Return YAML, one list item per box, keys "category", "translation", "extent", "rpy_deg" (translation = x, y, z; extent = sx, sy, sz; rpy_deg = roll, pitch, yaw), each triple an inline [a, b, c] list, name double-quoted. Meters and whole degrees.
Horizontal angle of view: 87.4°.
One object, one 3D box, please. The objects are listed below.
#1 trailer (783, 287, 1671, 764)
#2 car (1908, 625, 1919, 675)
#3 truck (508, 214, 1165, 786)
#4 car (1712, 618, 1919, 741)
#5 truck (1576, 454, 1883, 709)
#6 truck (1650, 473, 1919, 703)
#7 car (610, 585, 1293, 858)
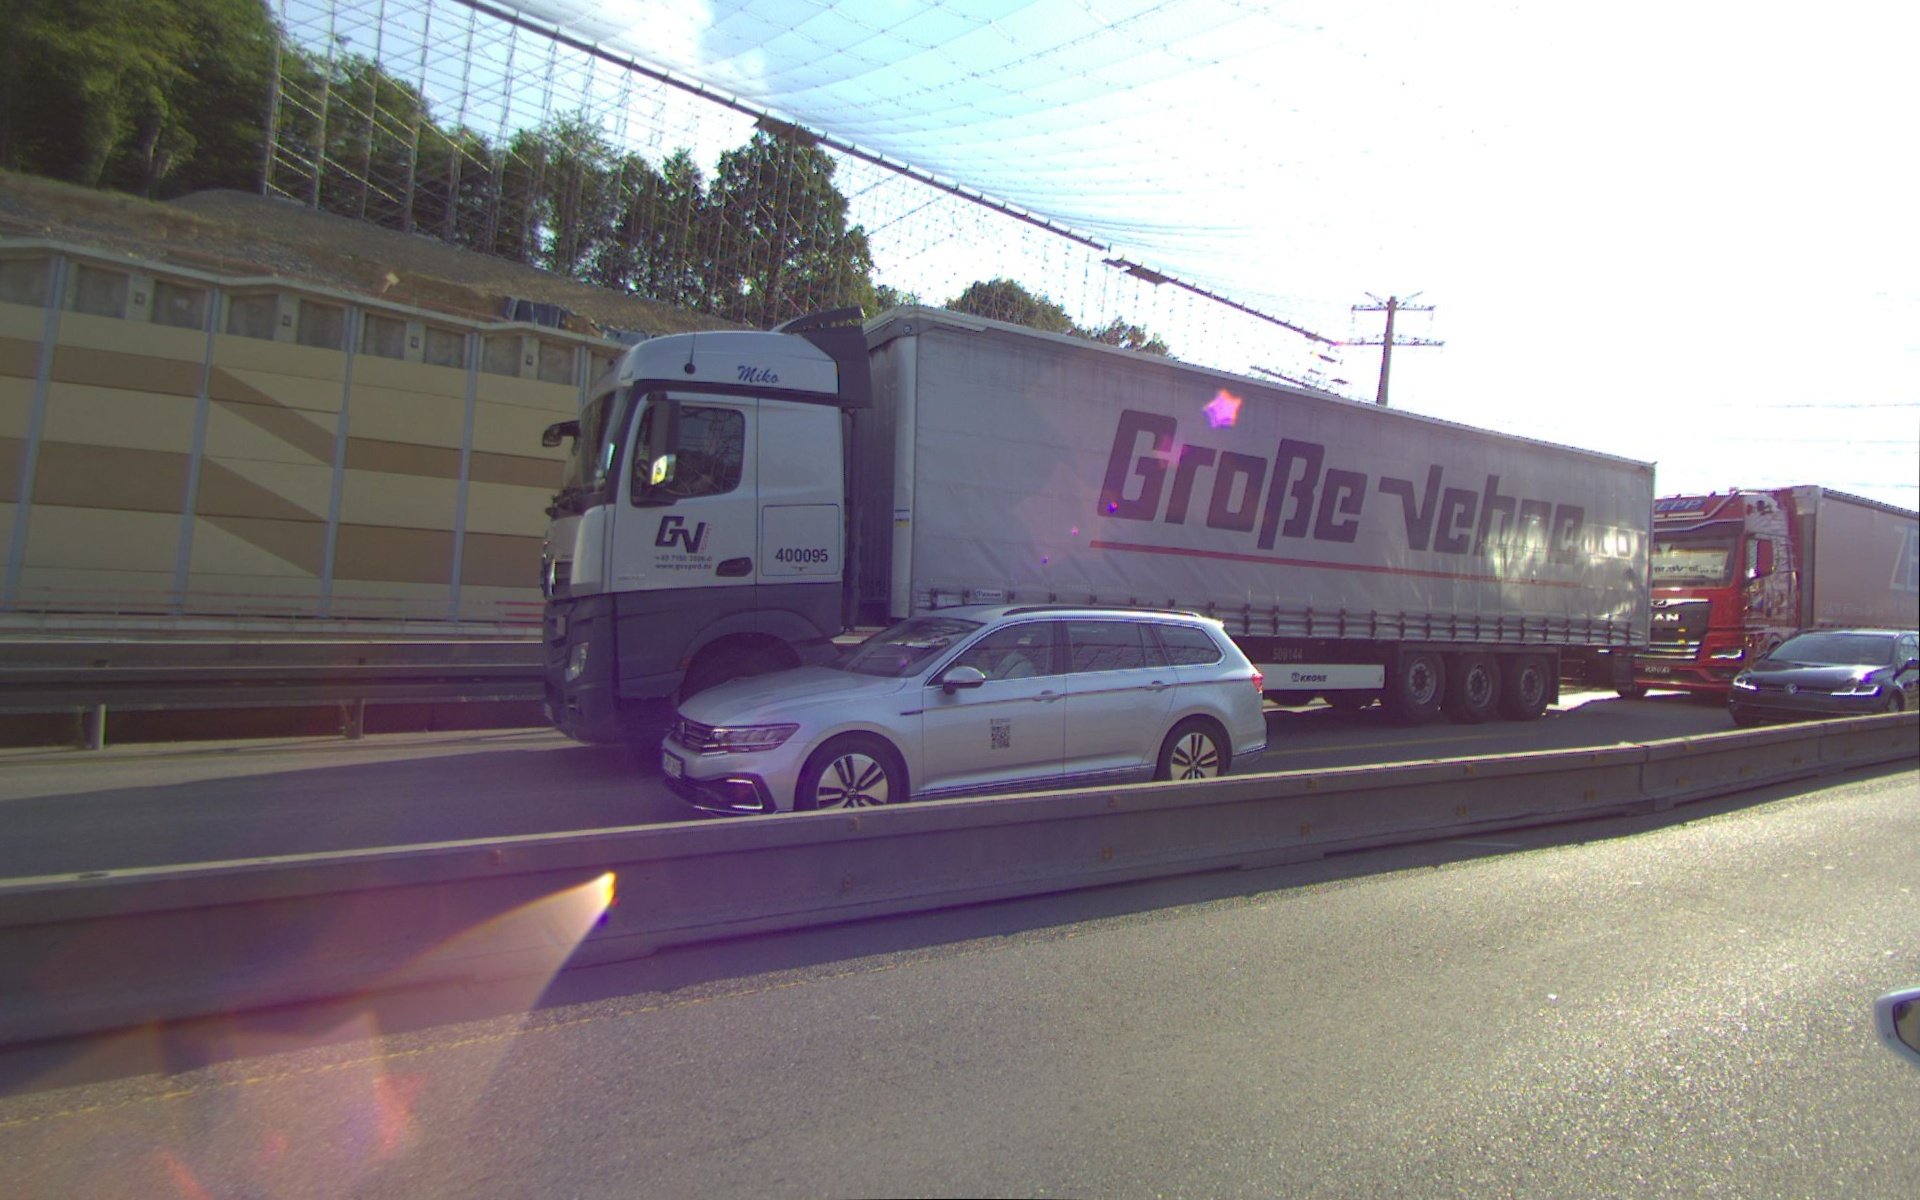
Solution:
- category: "trailer"
  translation: [4.677, -0.453, 13.614]
  extent: [13.807, 4.196, 2.784]
  rpy_deg: [2, 0, -31]
- category: "car"
  translation: [30.418, 1.542, 30.313]
  extent: [4.094, 1.467, 1.711]
  rpy_deg: [2, 1, -33]
- category: "truck"
  translation: [-1.129, -0.654, 10.084]
  extent: [5.866, 4.196, 2.773]
  rpy_deg: [2, 0, -31]
- category: "car"
  translation: [12.866, 1.066, 14.527]
  extent: [4.349, 1.483, 1.642]
  rpy_deg: [2, 1, -31]
- category: "truck"
  translation: [15.114, -0.216, 19.595]
  extent: [6.610, 4.196, 2.770]
  rpy_deg: [2, 0, -34]
- category: "truck"
  translation: [20.620, -0.024, 23.350]
  extent: [13.666, 4.196, 2.770]
  rpy_deg: [2, -1, -34]
- category: "car"
  translation: [0.104, 0.728, 7.337]
  extent: [4.782, 1.458, 1.724]
  rpy_deg: [2, -2, -31]
